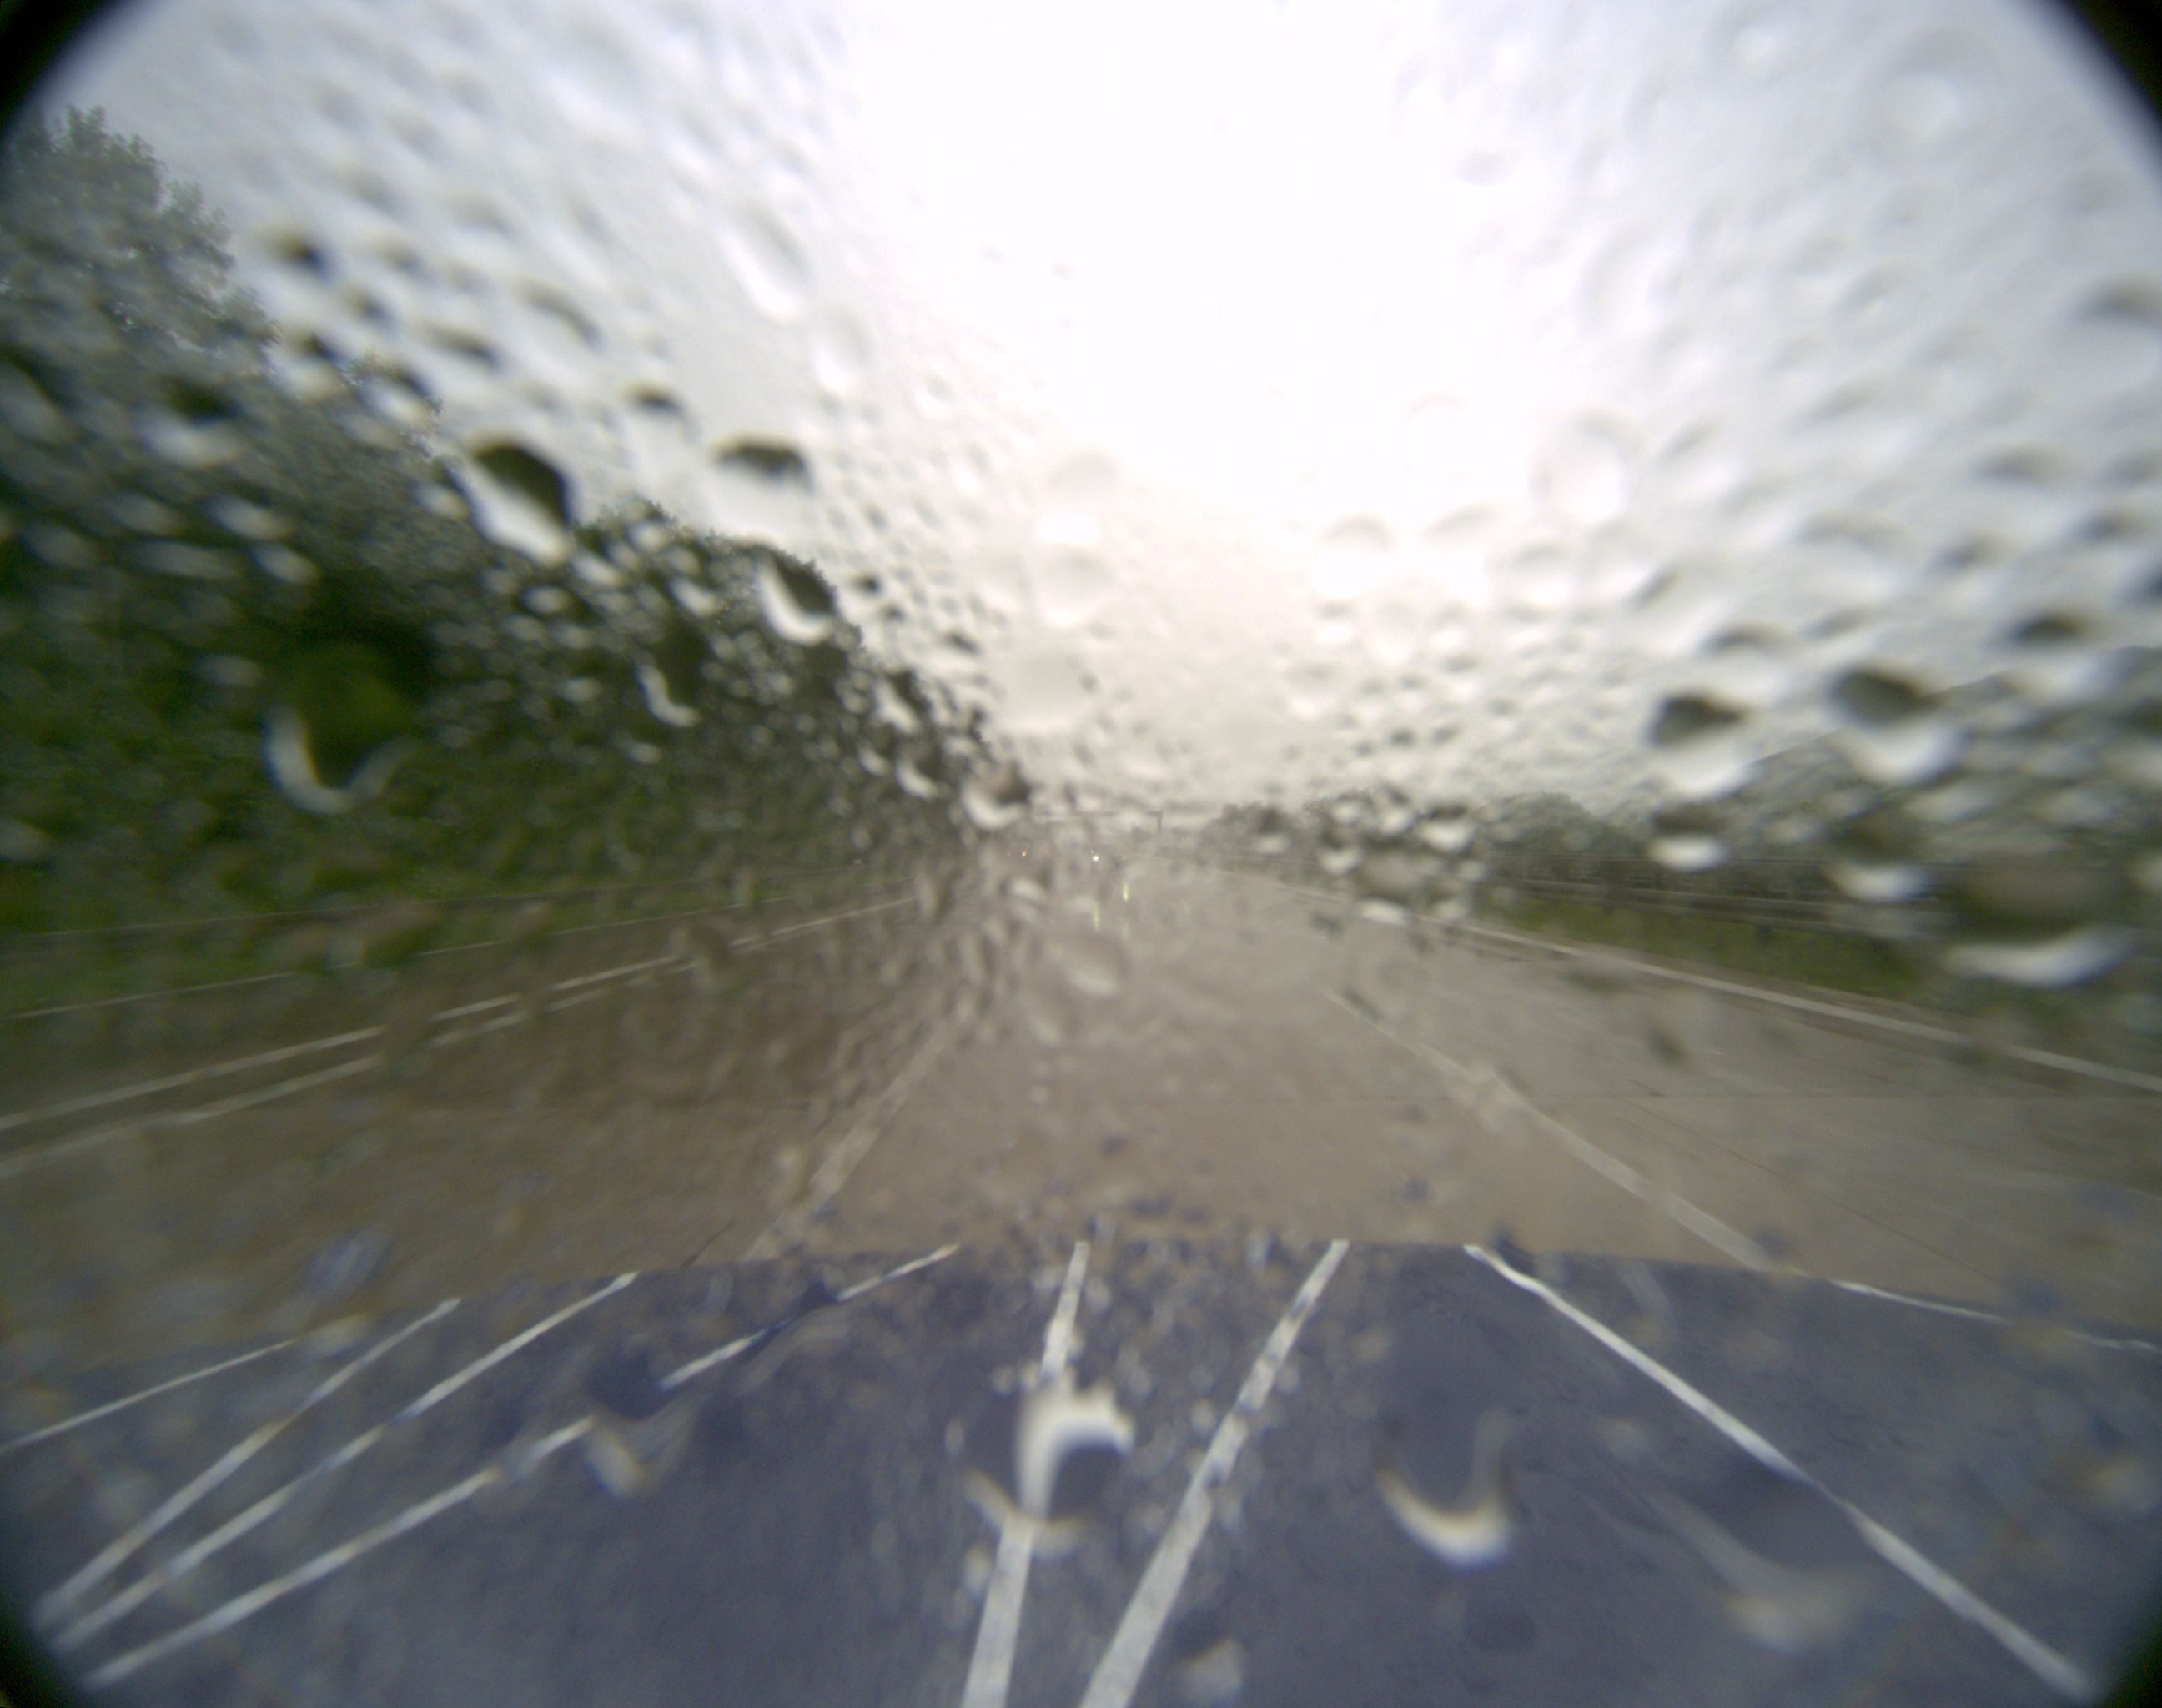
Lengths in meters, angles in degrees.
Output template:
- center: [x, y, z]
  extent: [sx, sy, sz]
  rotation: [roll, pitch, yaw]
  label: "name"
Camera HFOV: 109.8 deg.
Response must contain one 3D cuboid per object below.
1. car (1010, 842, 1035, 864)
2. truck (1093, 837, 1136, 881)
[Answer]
- center: [-5.592, -0.106, 73.126]
  extent: [1.858, 2.002, 4.000]
  rotation: [-1, 1, 4]
  label: "car"
- center: [1.617, 0.155, 39.111]
  extent: [1.998, 2.002, 7.574]
  rotation: [0, 1, 1]
  label: "truck"
